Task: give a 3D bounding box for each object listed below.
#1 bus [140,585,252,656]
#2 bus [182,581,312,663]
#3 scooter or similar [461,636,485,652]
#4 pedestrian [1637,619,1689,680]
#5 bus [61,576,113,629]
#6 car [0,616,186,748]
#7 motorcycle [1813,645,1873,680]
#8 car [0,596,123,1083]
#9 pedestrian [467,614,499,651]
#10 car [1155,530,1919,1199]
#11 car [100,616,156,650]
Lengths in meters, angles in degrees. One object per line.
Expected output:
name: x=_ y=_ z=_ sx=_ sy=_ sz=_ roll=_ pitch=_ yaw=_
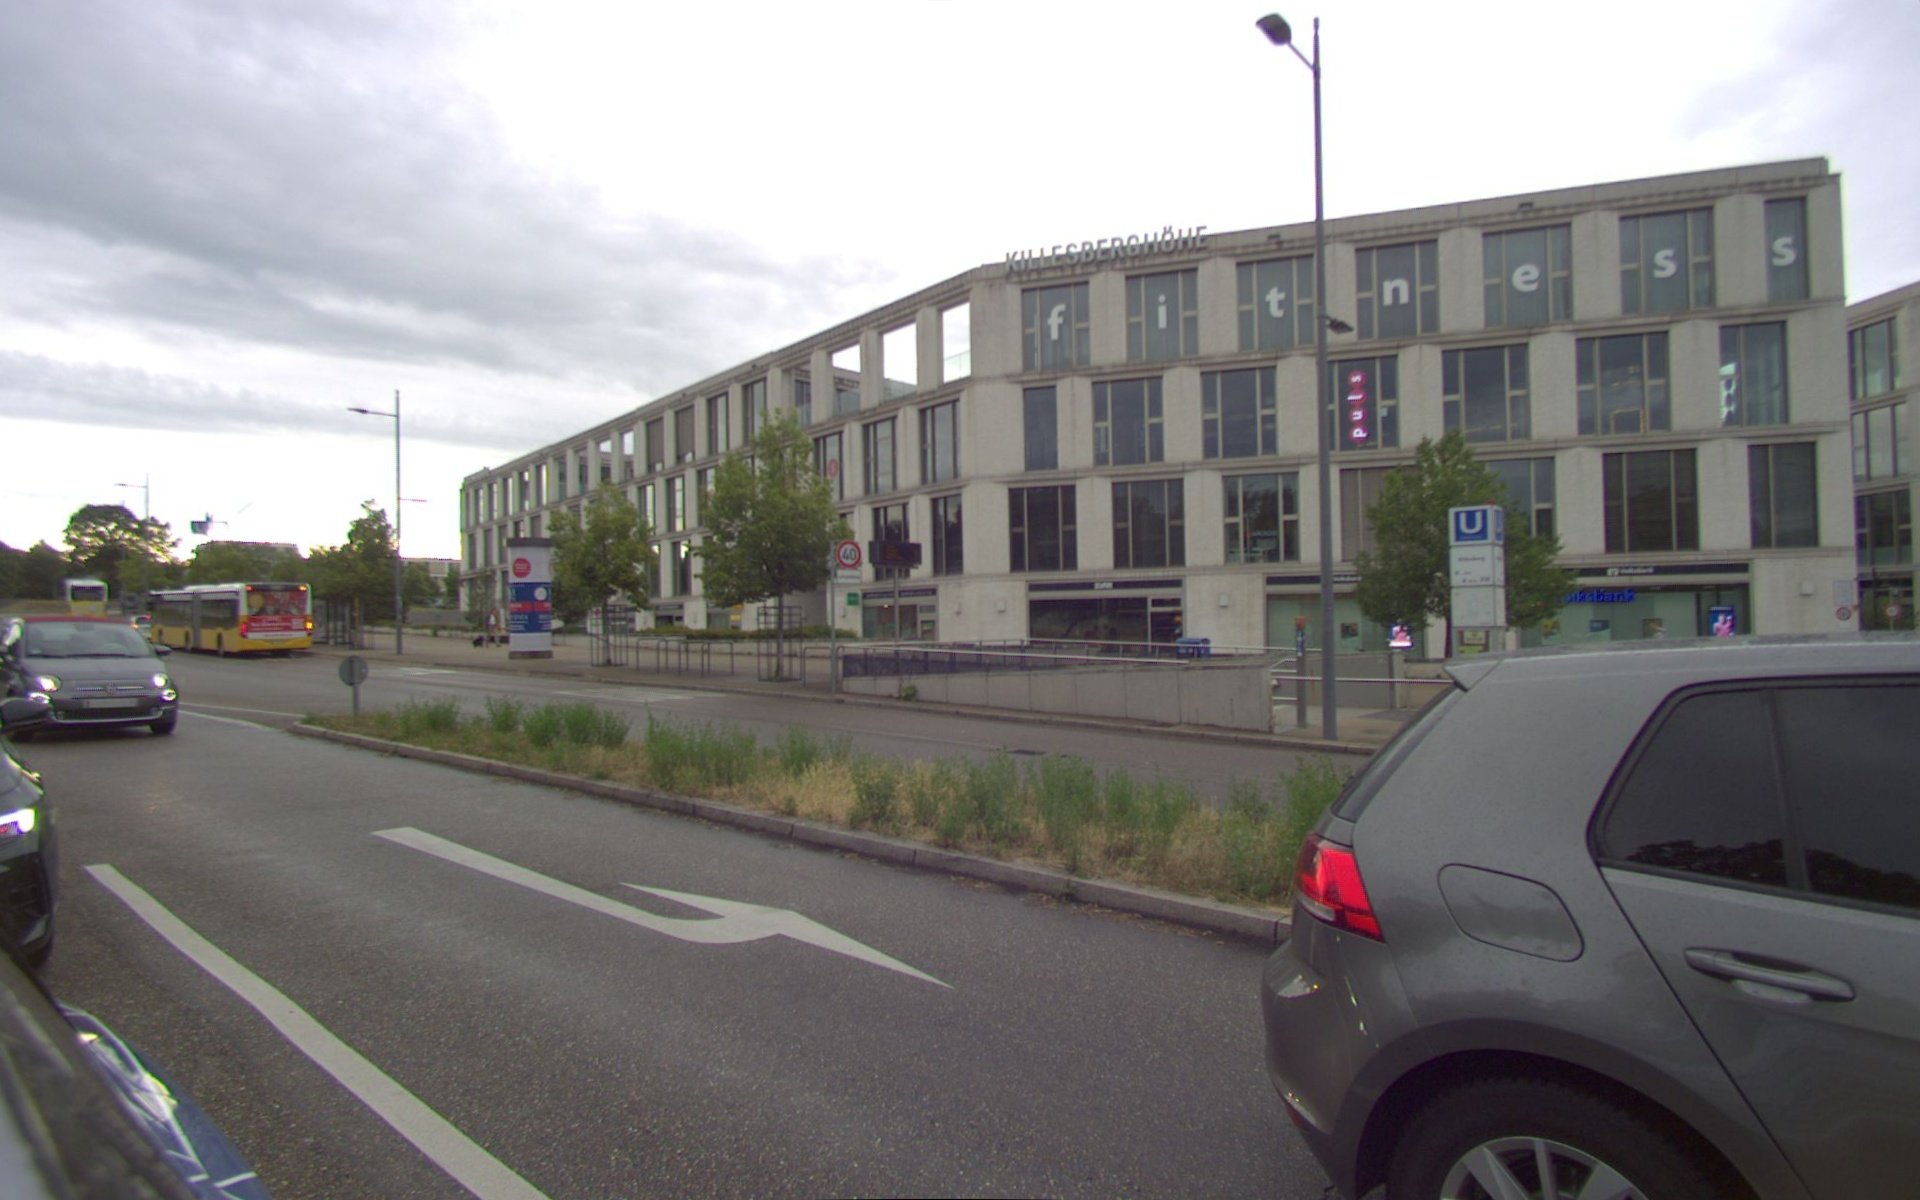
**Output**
bus: x=-38.166 y=0.976 z=50.387 sx=9.911 sy=3.205 sz=2.658 roll=-1 pitch=0 yaw=42
bus: x=-31.139 y=0.908 z=43.980 sx=9.206 sy=3.236 sz=2.723 roll=-1 pitch=0 yaw=43
scooter or similar: x=-21.164 y=1.912 z=43.976 sx=0.832 sy=0.656 sz=0.633 roll=-1 pitch=-2 yaw=39
pedestrian: x=18.710 y=1.303 z=26.954 sx=0.907 sy=1.617 sz=0.760 roll=0 pitch=-1 yaw=18
bus: x=-76.546 y=0.248 z=88.991 sx=2.717 sy=4.185 sz=19.383 roll=-1 pitch=0 yaw=-39
car: x=-11.603 y=0.957 z=13.144 sx=3.501 sy=1.492 sz=1.611 roll=-1 pitch=-1 yaw=38
motorcycle: x=20.415 y=1.436 z=23.412 sx=0.517 sy=0.746 sz=1.098 roll=-1 pitch=0 yaw=9
car: x=-5.128 y=0.757 z=4.154 sx=4.766 sy=1.476 sz=1.877 roll=-1 pitch=0 yaw=41
pedestrian: x=-20.807 y=1.417 z=44.188 sx=0.980 sy=1.593 sz=0.857 roll=-1 pitch=0 yaw=31
car: x=2.649 y=0.647 z=1.422 sx=4.374 sy=1.492 sz=1.797 roll=-1 pitch=-2 yaw=41
car: x=-47.204 y=1.821 z=57.414 sx=3.998 sy=1.800 sz=1.843 roll=-1 pitch=0 yaw=41
